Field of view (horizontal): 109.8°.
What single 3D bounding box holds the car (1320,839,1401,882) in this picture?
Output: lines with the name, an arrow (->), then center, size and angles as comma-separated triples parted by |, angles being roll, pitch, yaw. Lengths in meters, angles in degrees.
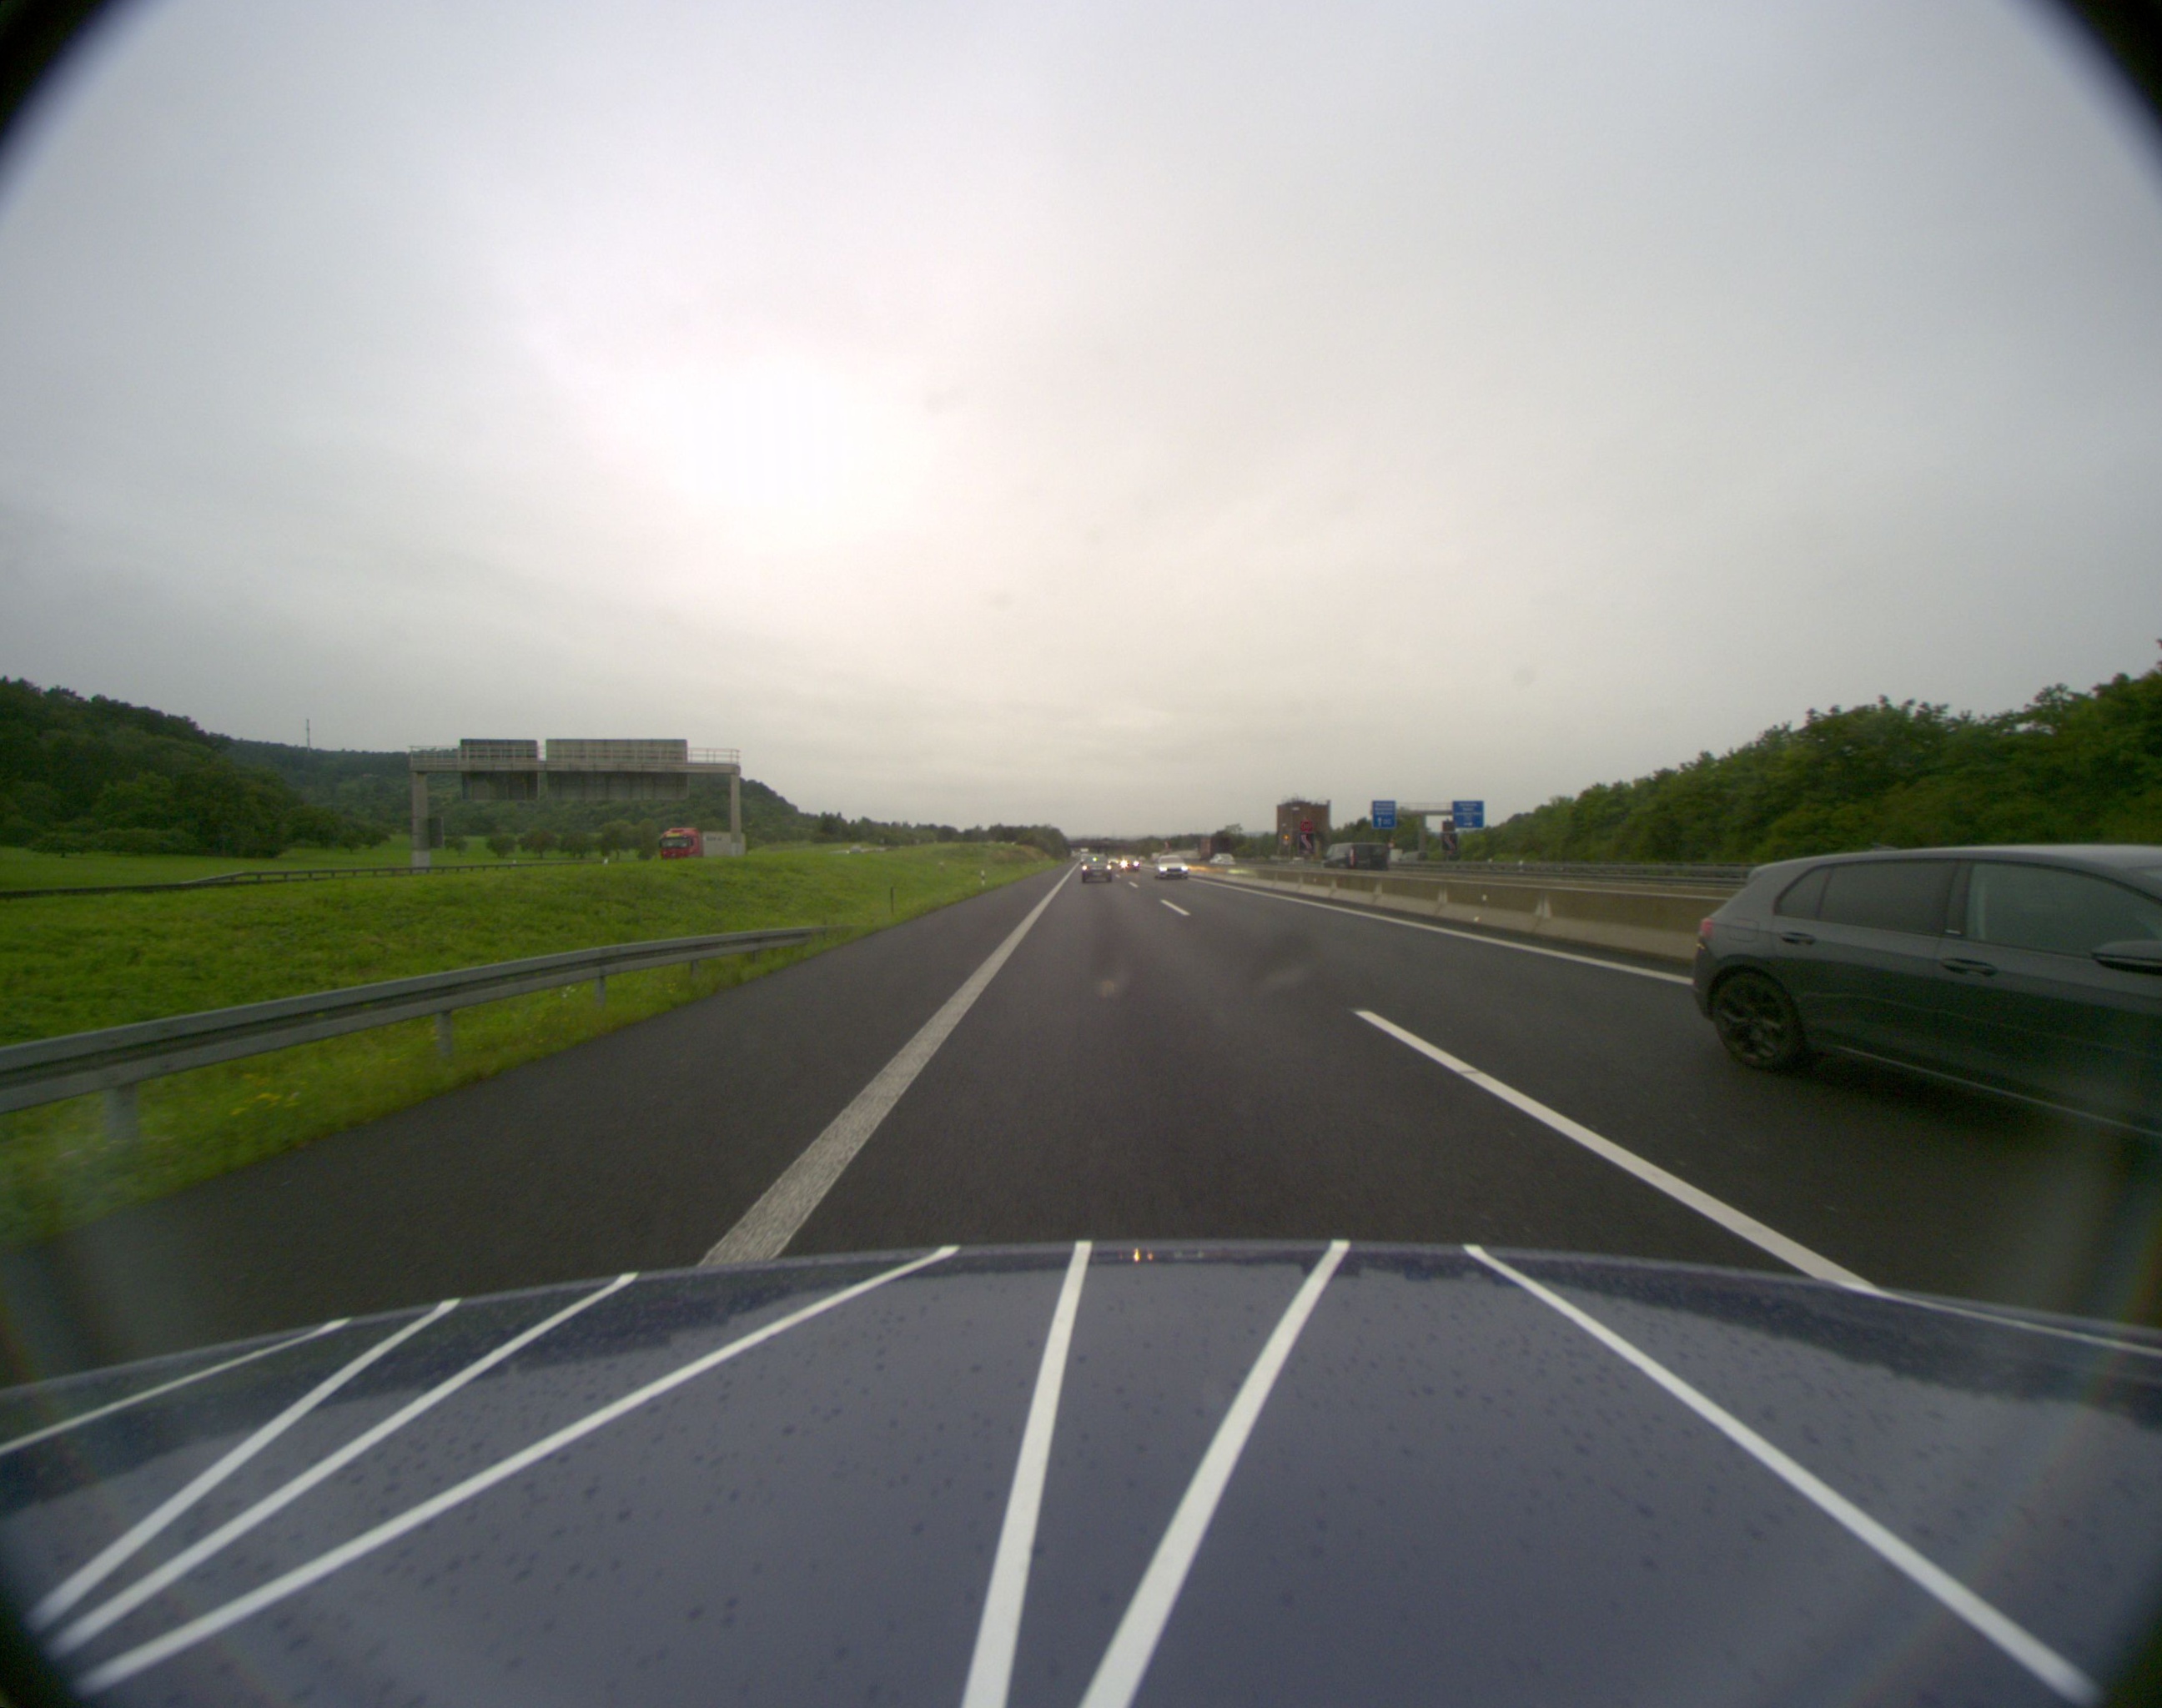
car -> 13.228, 0.303, 36.304 | 1.999, 1.825, 4.679 | -2, 0, -1

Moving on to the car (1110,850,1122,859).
car -> 6.176, 0.123, 132.835 | 1.941, 1.341, 4.000 | -4, 0, 2

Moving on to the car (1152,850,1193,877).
car -> 5.770, 0.579, 48.353 | 1.998, 1.582, 4.816 | -2, 0, 0

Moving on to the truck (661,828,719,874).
truck -> -36.098, -0.268, 70.406 | 2.515, 3.964, 5.925 | -3, 1, -5

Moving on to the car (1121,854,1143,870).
car -> 4.797, 0.699, 72.282 | 1.835, 1.417, 4.368 | -2, 0, 2

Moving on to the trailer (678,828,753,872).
trailer -> -36.667, -0.385, 76.866 | 2.498, 3.961, 12.398 | -3, 1, -5

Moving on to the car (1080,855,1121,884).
car -> 1.181, 0.877, 45.354 | 2.242, 1.565, 4.817 | -1, 0, 2

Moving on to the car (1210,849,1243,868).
car -> 14.209, 0.421, 74.607 | 2.161, 1.755, 4.959 | -1, 0, -1

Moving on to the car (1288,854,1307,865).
car -> 29.763, 0.744, 104.425 | 1.526, 1.390, 4.000 | -2, 0, 1

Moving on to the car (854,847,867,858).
car -> -41.458, -0.311, 142.748 | 1.653, 2.002, 3.997 | -1, 0, -7

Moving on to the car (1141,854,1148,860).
car -> 19.446, 0.936, 232.431 | 1.998, 1.652, 4.314 | -1, 0, 3

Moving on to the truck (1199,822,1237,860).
truck -> 18.232, -1.672, 101.749 | 3.408, 4.705, 10.486 | -2, 0, 3

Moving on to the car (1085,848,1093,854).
car -> 1.919, -0.725, 185.643 | 1.942, 1.341, 4.000 | -3, 0, 1

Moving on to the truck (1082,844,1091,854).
truck -> 1.823, -1.568, 242.044 | 2.728, 3.098, 7.960 | -3, 0, 1

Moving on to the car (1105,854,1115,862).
car -> 6.680, 0.907, 176.270 | 1.998, 1.565, 4.000 | -2, 0, 1

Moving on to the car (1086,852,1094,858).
car -> 2.129, 0.255, 178.938 | 1.942, 1.341, 4.000 | -3, 0, 1

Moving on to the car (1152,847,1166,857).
car -> 14.538, -0.352, 141.977 | 1.999, 1.852, 5.220 | 0, 0, 0

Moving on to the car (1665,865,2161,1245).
car -> 5.199, 0.819, 3.358 | 1.835, 1.417, 4.367 | -2, 0, -1
